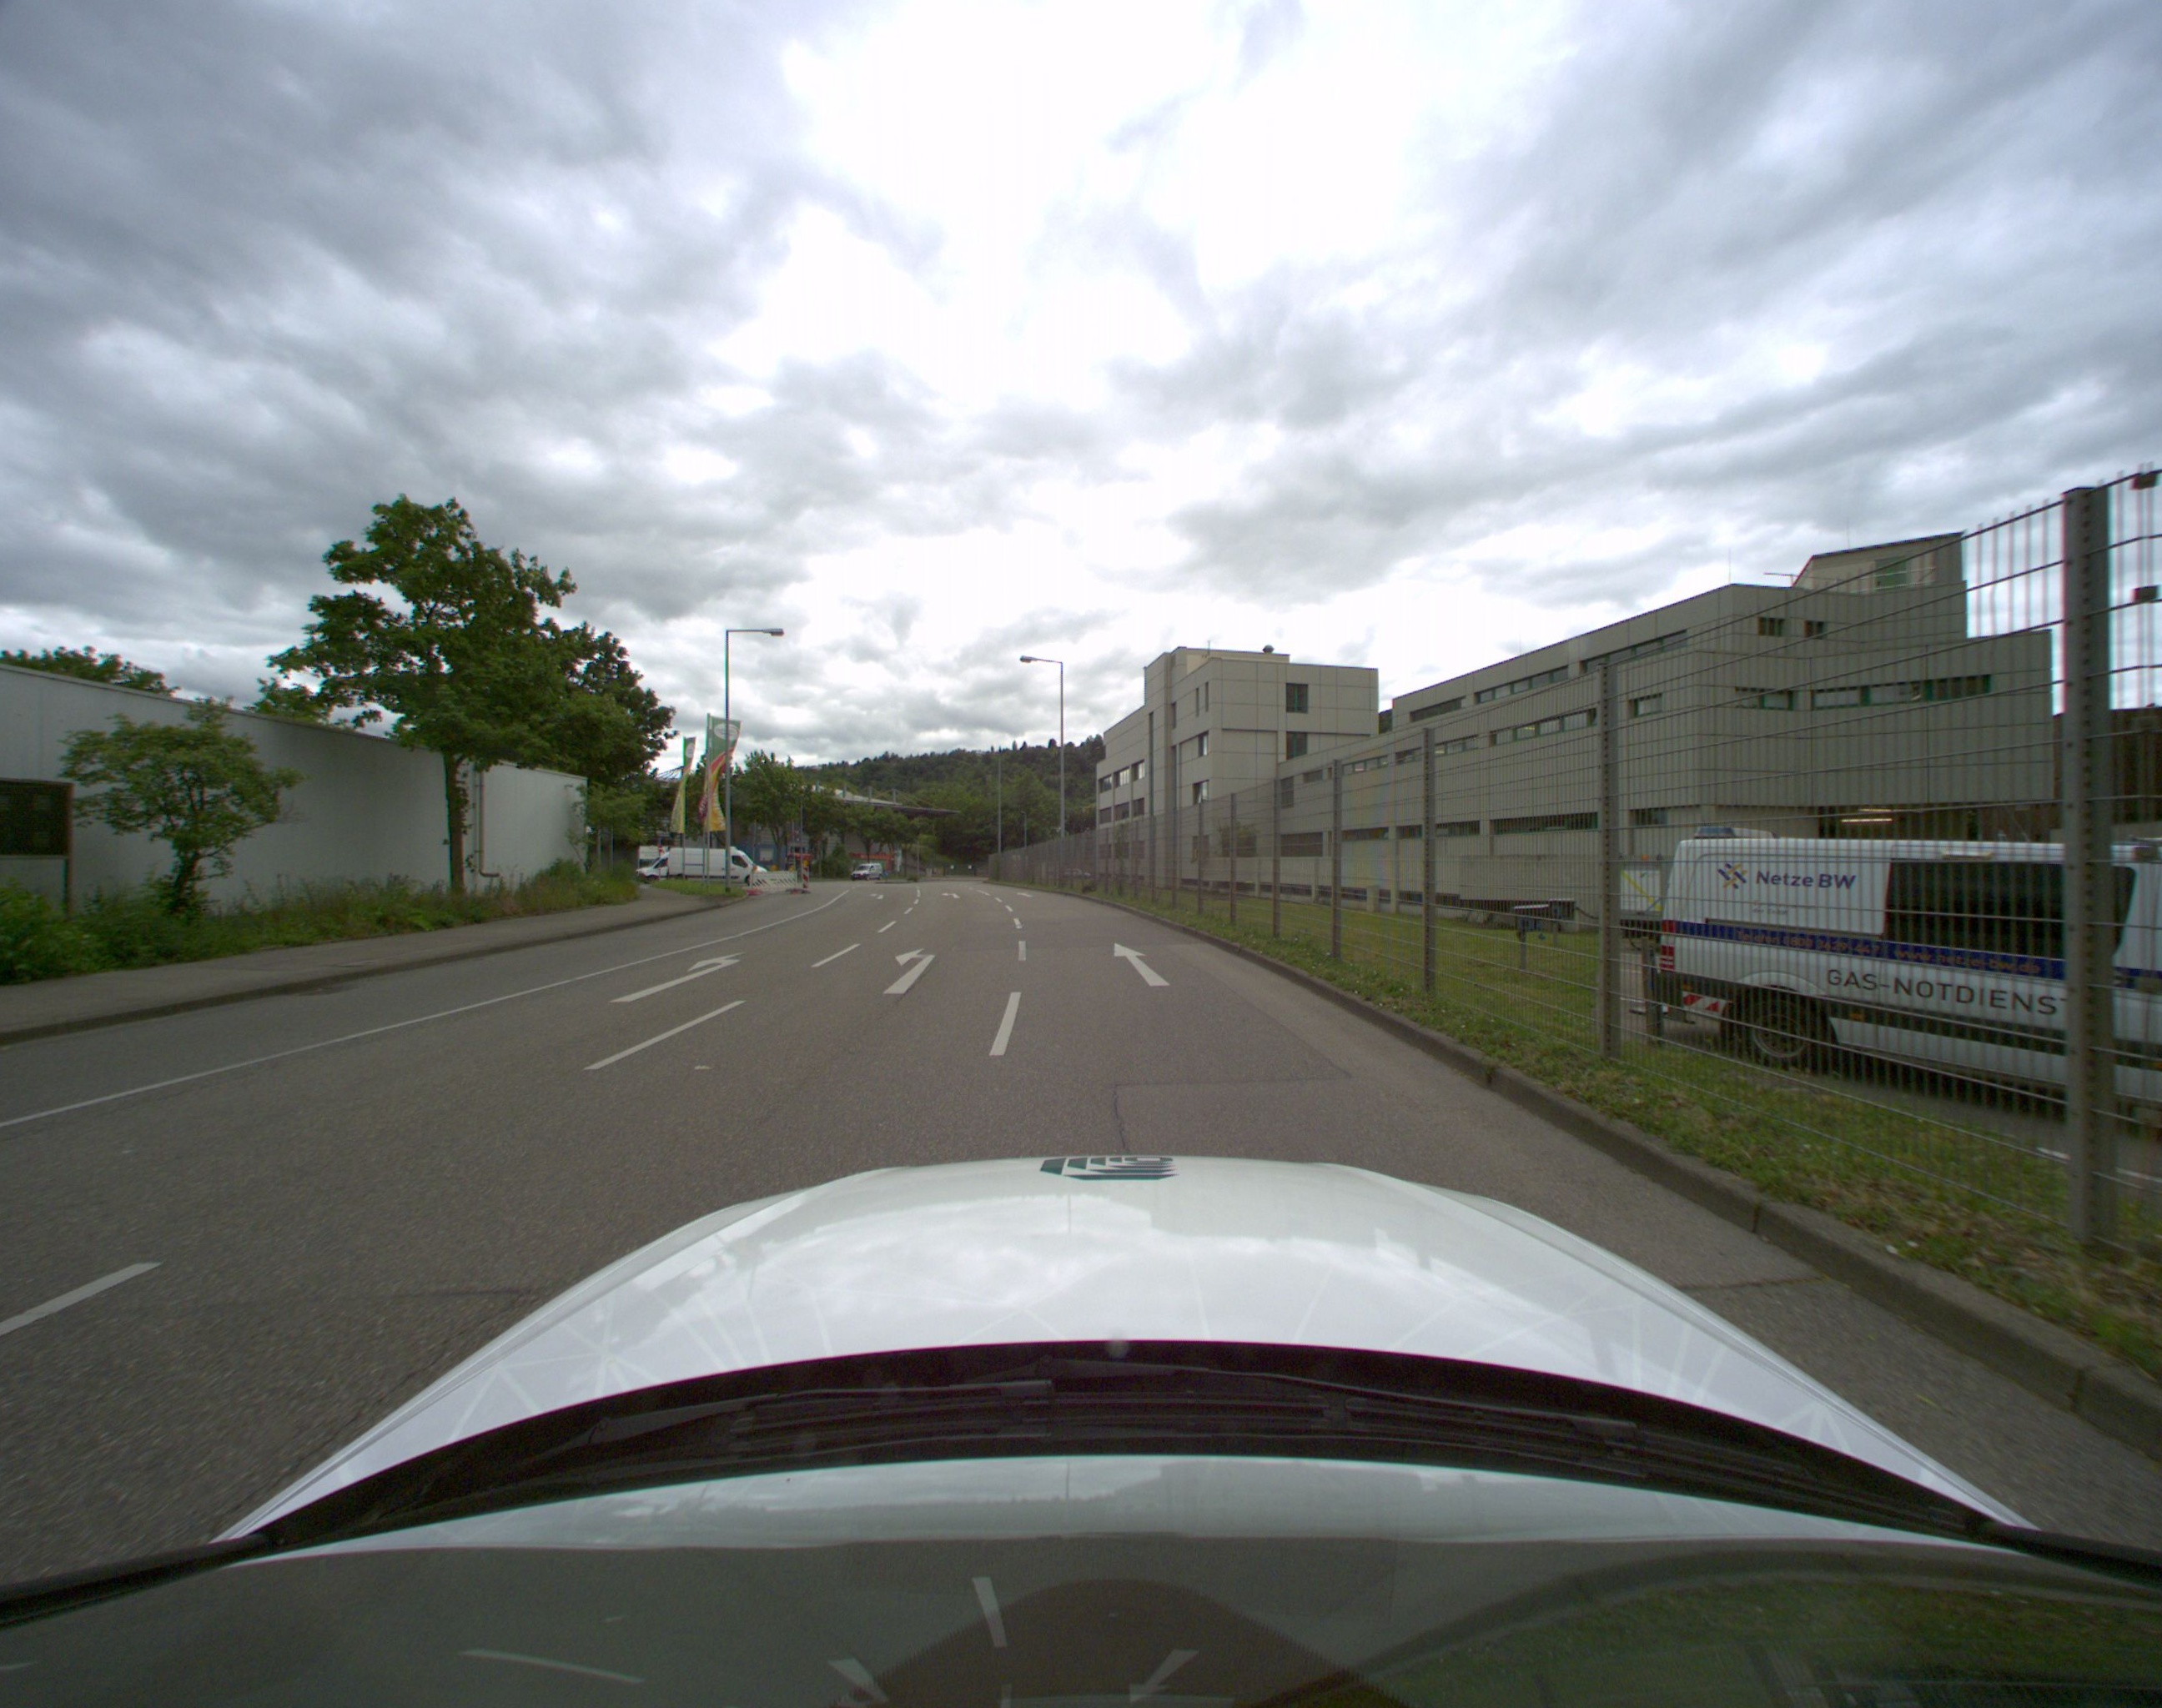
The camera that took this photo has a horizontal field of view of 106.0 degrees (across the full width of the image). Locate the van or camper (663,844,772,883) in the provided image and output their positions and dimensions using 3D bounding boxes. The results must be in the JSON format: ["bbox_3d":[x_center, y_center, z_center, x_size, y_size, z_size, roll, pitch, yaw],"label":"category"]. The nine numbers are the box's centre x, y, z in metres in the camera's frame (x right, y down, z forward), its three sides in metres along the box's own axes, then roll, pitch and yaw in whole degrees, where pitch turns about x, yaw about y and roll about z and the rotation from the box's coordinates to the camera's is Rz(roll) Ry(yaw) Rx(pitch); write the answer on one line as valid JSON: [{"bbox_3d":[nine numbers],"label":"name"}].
[{"bbox_3d":[-23.842,0.645,53.663,5.986,2.247,2.387,2,-2,-11],"label":"van or camper"}]

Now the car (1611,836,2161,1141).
[{"bbox_3d":[8.517,1.001,7.243,2.006,2.262,6.111,1,1,-30],"label":"car"}]

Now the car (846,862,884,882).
[{"bbox_3d":[-22.526,1.890,85.167,1.978,2.014,4.148,1,-1,16],"label":"car"}]

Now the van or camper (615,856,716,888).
[{"bbox_3d":[-31.449,1.392,61.772,6.669,2.326,1.996,1,-2,-28],"label":"van or camper"}]
